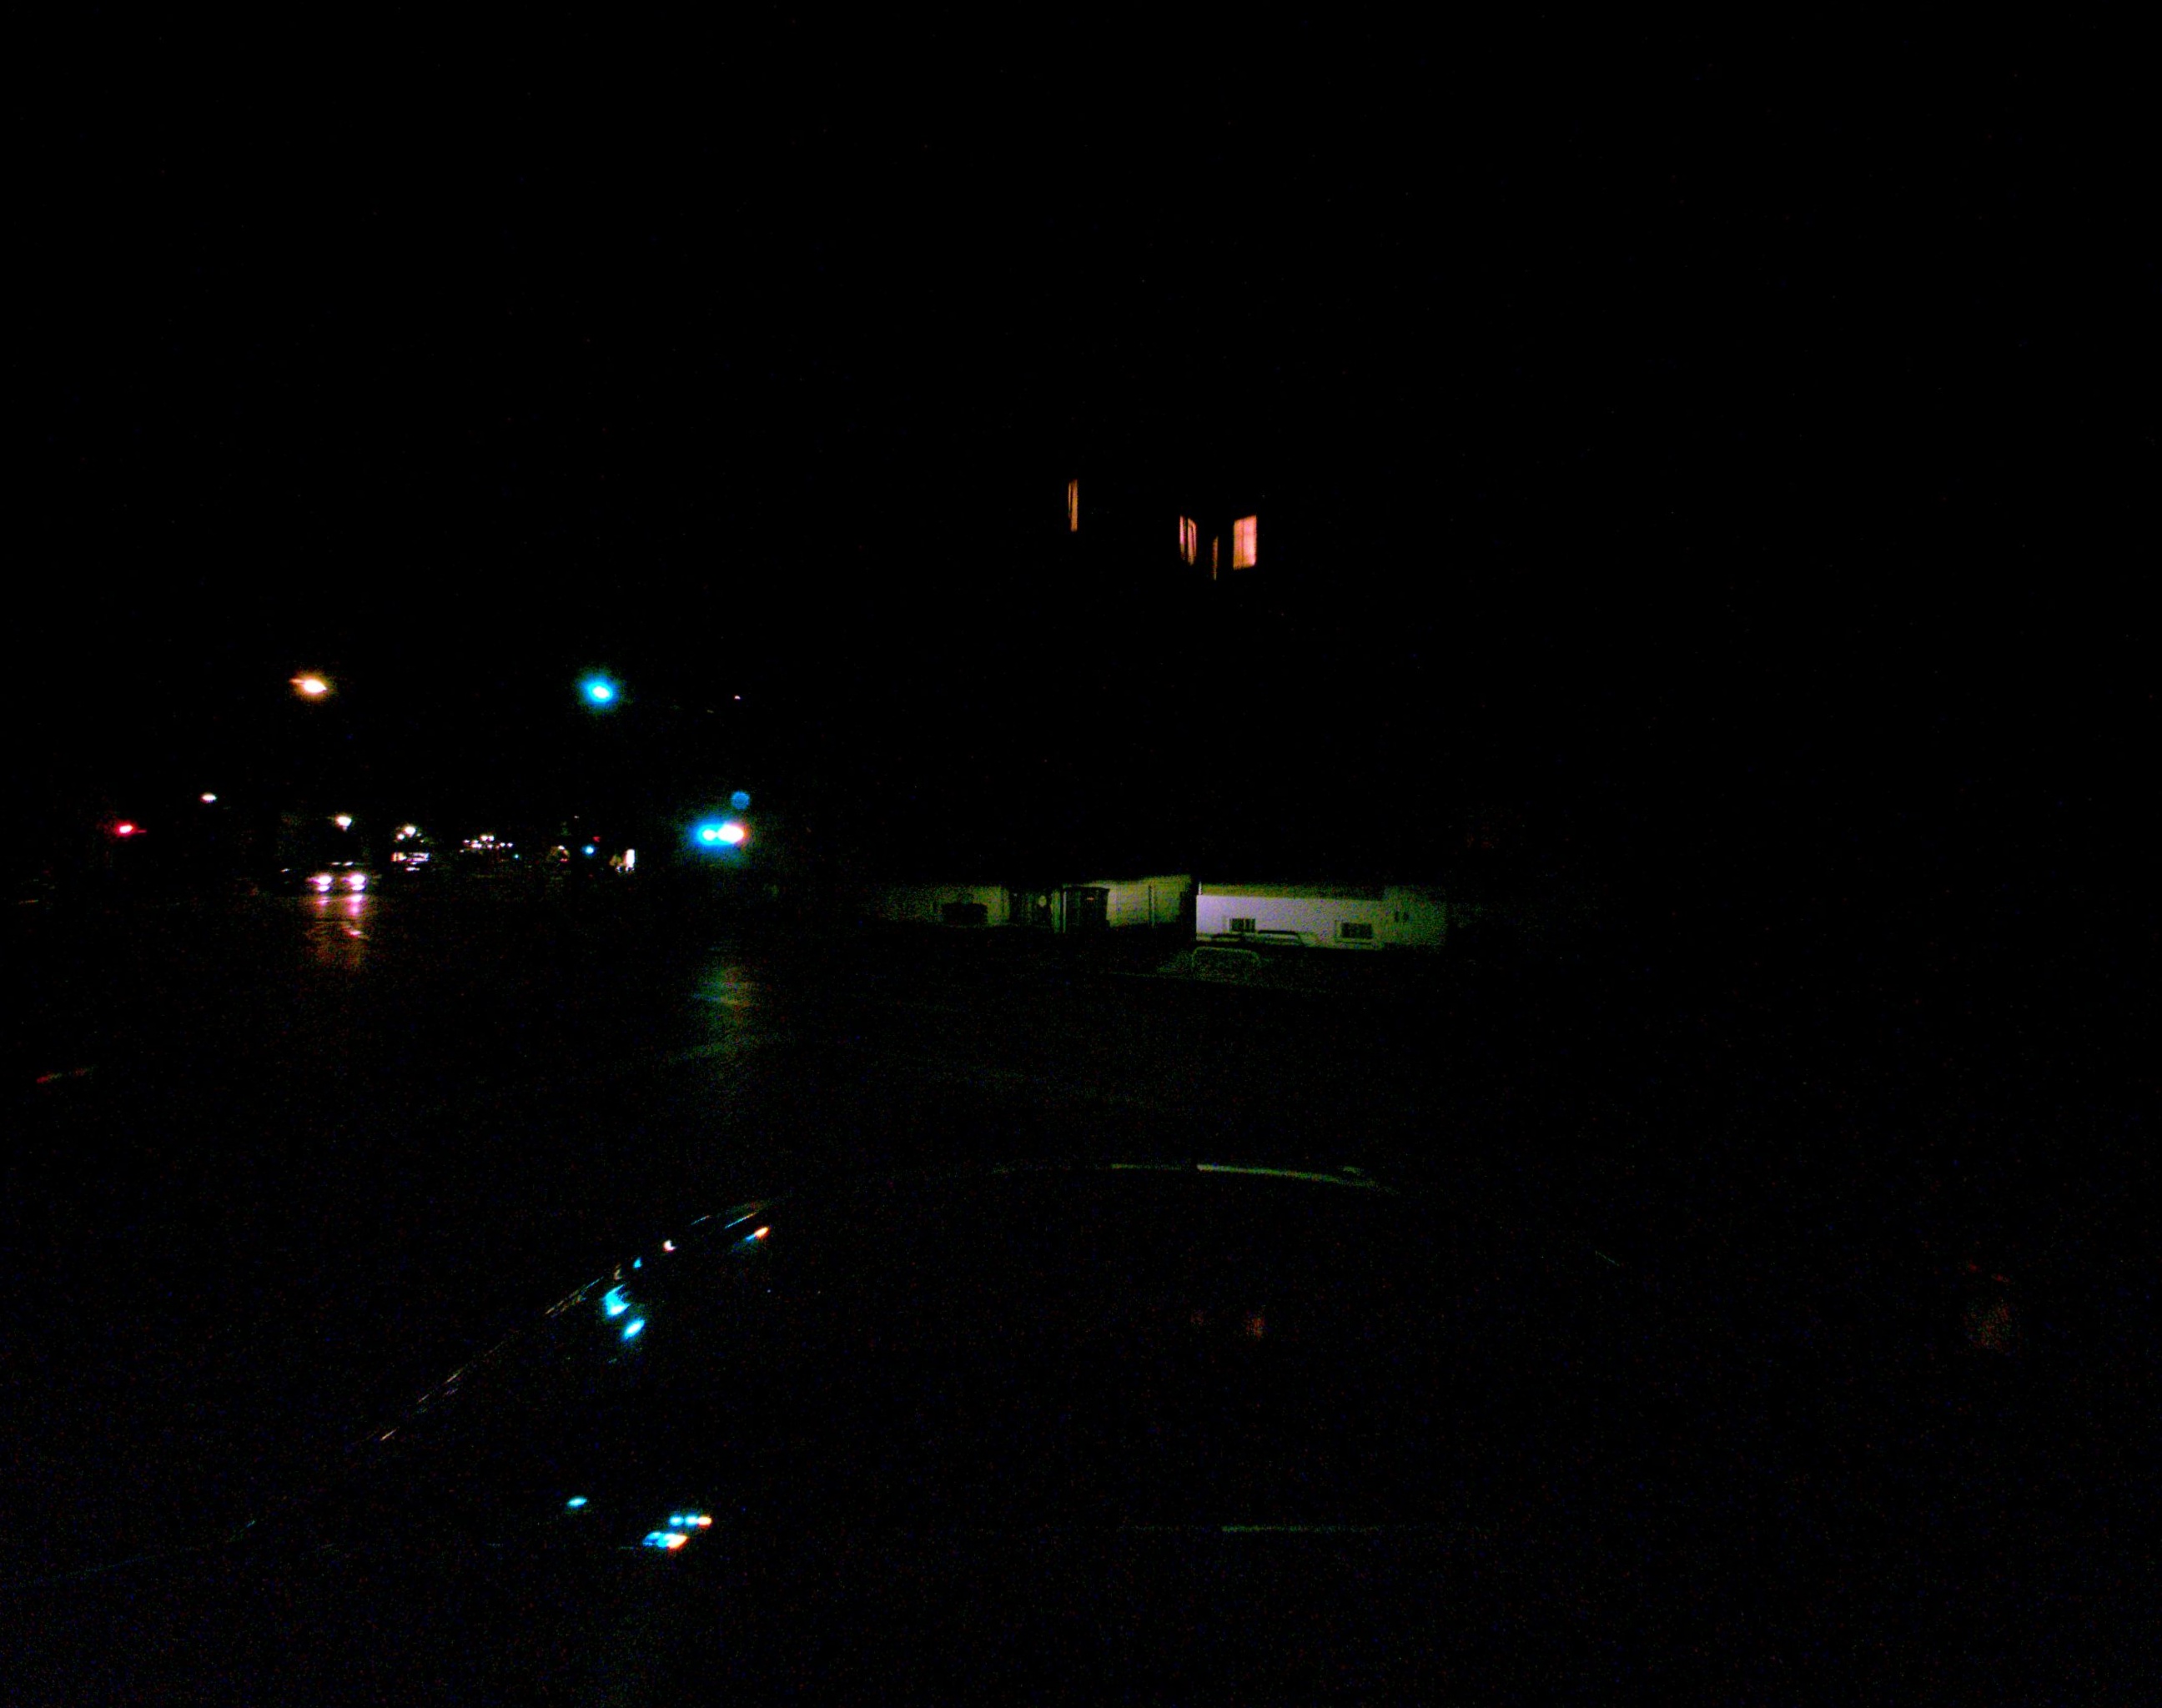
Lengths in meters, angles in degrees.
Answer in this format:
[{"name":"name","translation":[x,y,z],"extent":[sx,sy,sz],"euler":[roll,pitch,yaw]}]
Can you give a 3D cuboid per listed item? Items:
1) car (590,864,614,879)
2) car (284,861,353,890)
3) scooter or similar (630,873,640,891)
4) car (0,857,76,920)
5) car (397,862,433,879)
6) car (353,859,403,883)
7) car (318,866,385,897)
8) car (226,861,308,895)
[{"name":"car","translation":[-49.752,1.838,84.567],"extent":[1.746,1.460,4.677],"euler":[3,-2,-35]},{"name":"car","translation":[-43.972,1.203,47.065],"extent":[1.795,1.491,4.289],"euler":[5,-3,-29]},{"name":"scooter or similar","translation":[-29.327,1.819,53.590],"extent":[0.423,1.130,1.482],"euler":[1,-1,-23]},{"name":"car","translation":[-29.436,0.879,21.698],"extent":[1.897,1.596,3.986],"euler":[3,-2,-29]},{"name":"car","translation":[-57.342,1.409,70.153],"extent":[1.796,1.416,4.084],"euler":[4,-2,-32]},{"name":"car","translation":[-51.330,1.237,59.547],"extent":[1.795,1.582,4.369],"euler":[5,-3,-29]},{"name":"car","translation":[-36.853,1.352,41.234],"extent":[1.726,1.429,3.961],"euler":[0,0,-30]},{"name":"car","translation":[-39.651,1.169,39.752],"extent":[1.600,1.491,3.667],"euler":[5,-3,-26]}]
